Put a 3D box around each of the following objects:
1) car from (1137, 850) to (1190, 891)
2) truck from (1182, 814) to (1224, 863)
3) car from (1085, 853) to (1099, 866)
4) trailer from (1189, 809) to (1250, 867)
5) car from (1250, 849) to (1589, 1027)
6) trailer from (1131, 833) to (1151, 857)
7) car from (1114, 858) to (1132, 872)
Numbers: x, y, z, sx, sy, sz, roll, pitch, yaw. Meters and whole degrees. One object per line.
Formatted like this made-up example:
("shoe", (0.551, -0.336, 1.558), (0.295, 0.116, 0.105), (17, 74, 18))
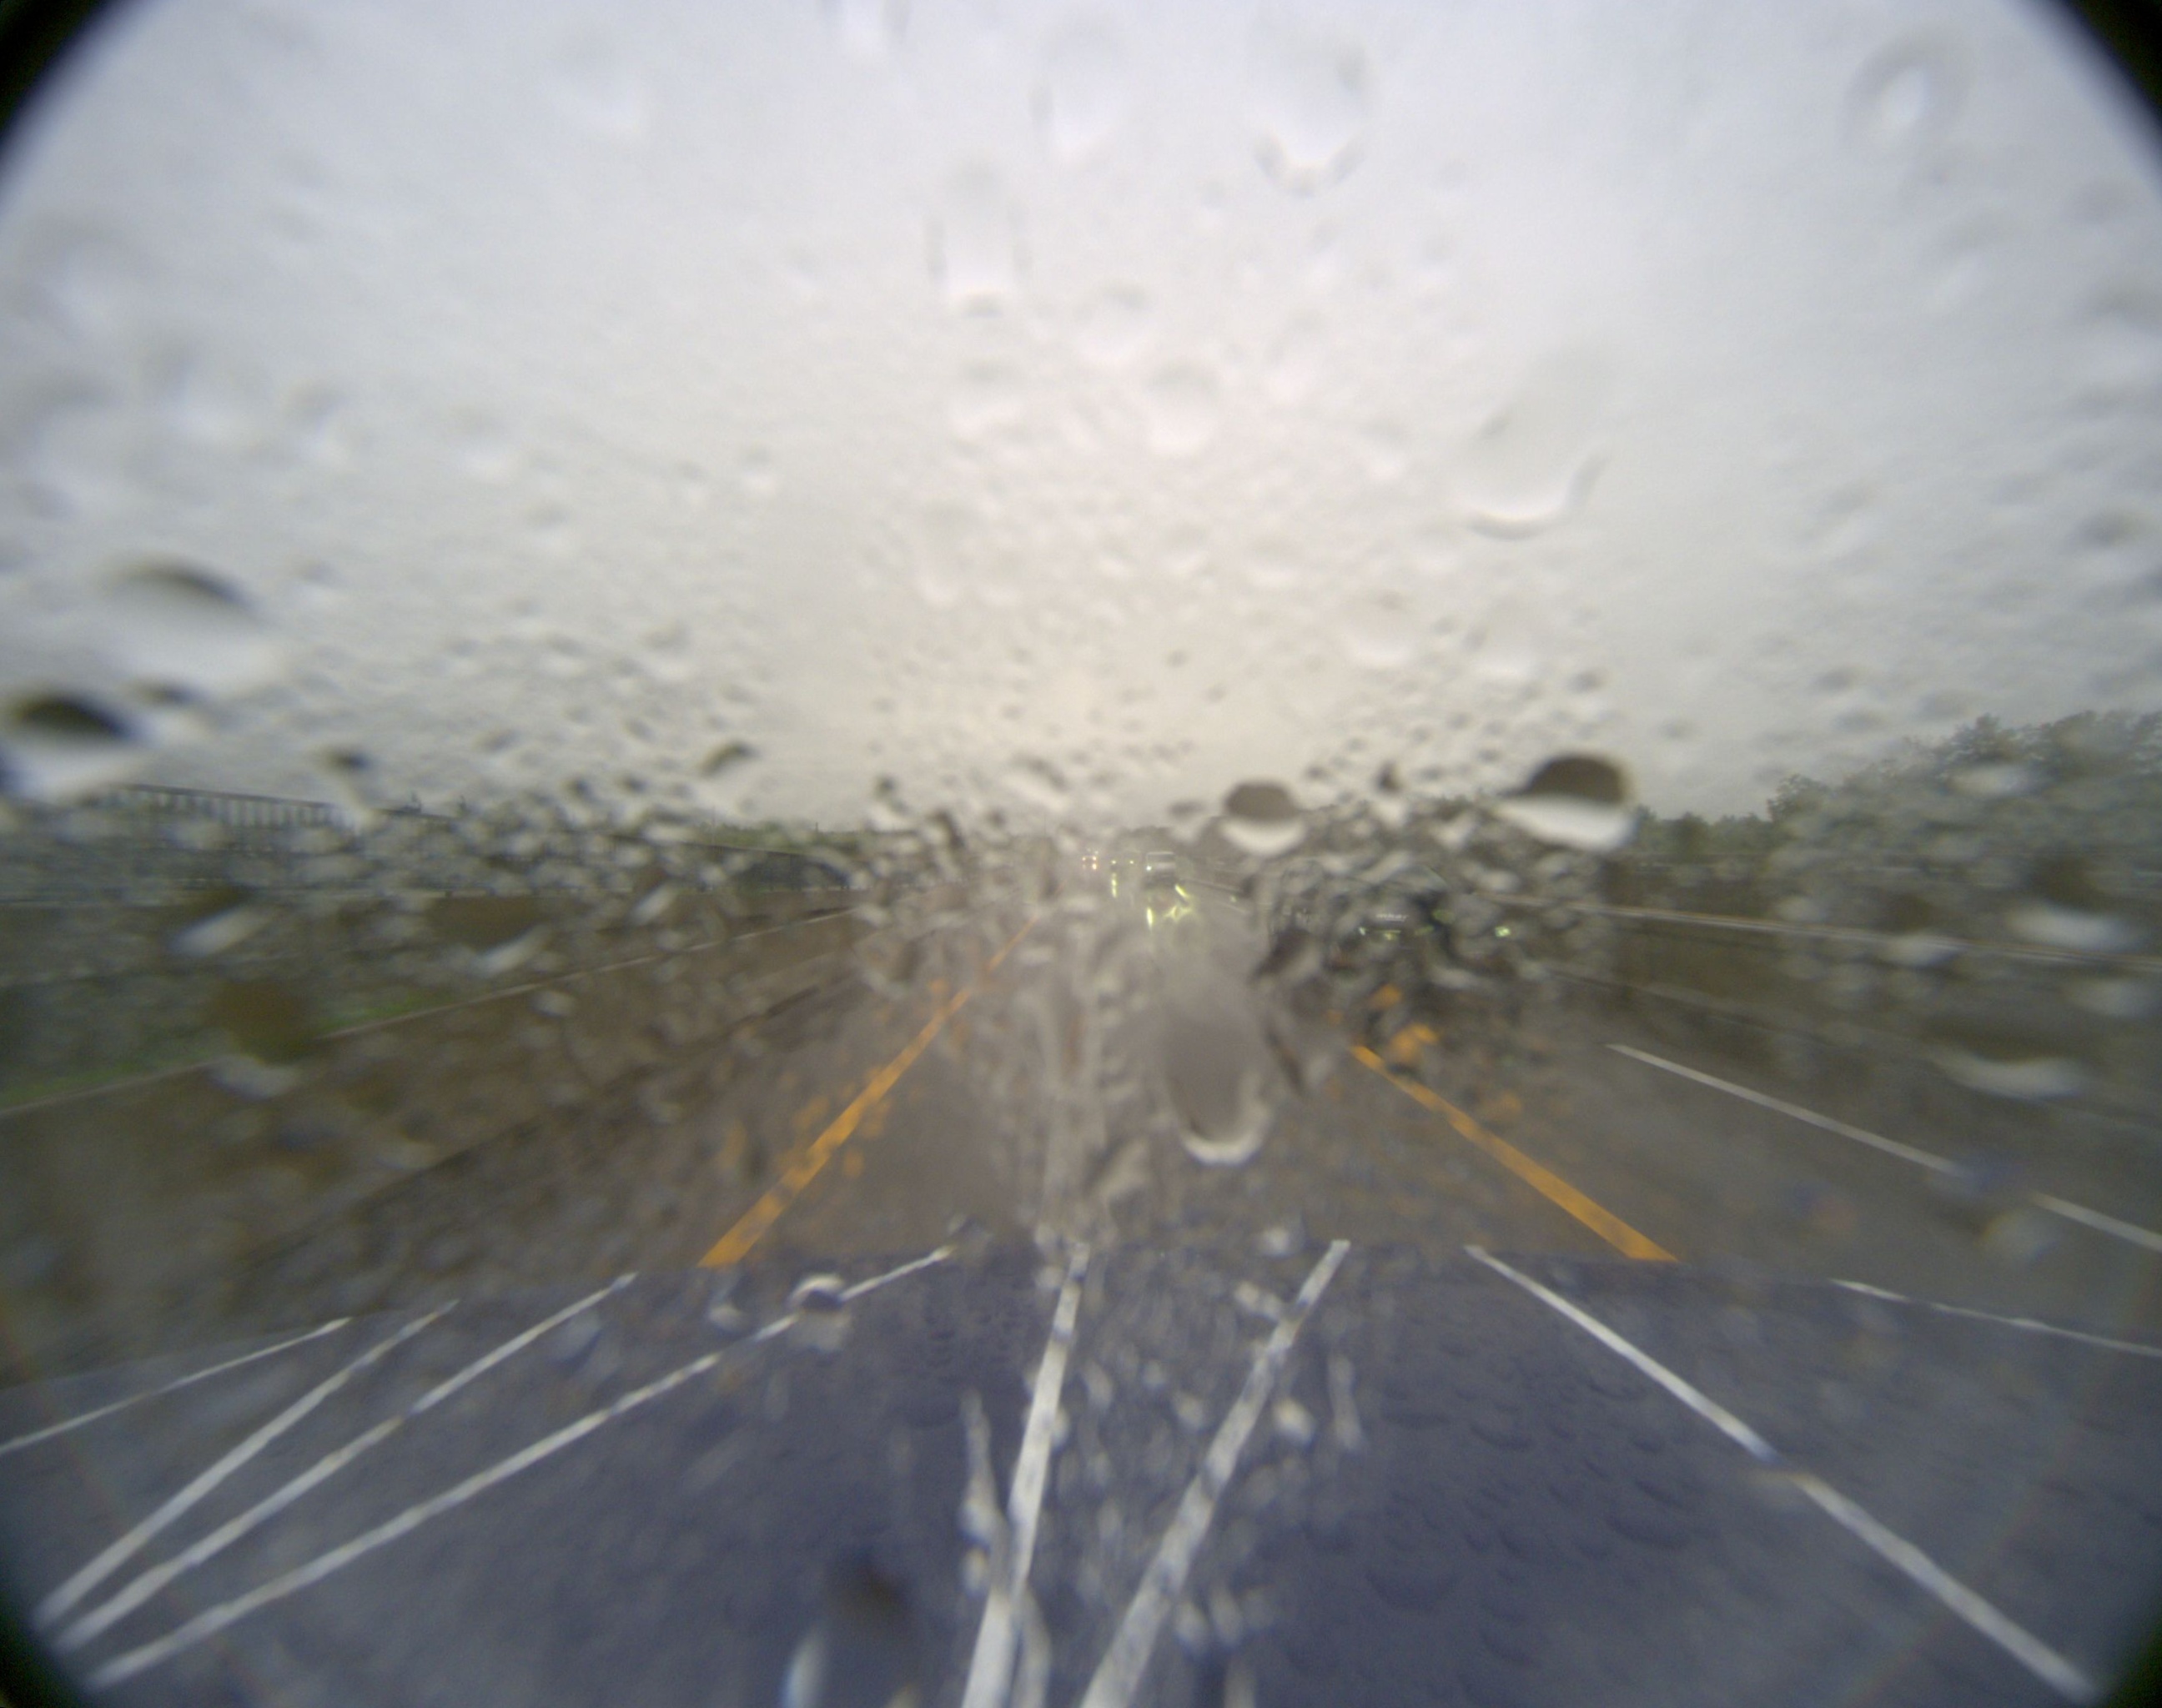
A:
("car", (3.721, 0.699, 34.877), (1.971, 1.670, 3.999), (-2, 1, 0))
("truck", (11.010, -1.414, 69.006), (2.648, 4.103, 6.694), (-2, 1, 1))
("car", (1.584, 0.746, 110.042), (1.998, 1.762, 3.999), (-2, 1, 0))
("trailer", (10.908, -1.272, 61.066), (2.656, 4.085, 12.312), (-2, 1, 1))
("car", (3.556, 0.736, 9.169), (1.944, 1.519, 4.794), (-1, 1, 0))
("trailer", (11.542, -1.740, 146.909), (2.693, 4.253, 13.068), (-2, 1, 0))
("car", (3.568, 0.935, 64.930), (1.335, 1.105, 3.199), (1, 0, 1))
